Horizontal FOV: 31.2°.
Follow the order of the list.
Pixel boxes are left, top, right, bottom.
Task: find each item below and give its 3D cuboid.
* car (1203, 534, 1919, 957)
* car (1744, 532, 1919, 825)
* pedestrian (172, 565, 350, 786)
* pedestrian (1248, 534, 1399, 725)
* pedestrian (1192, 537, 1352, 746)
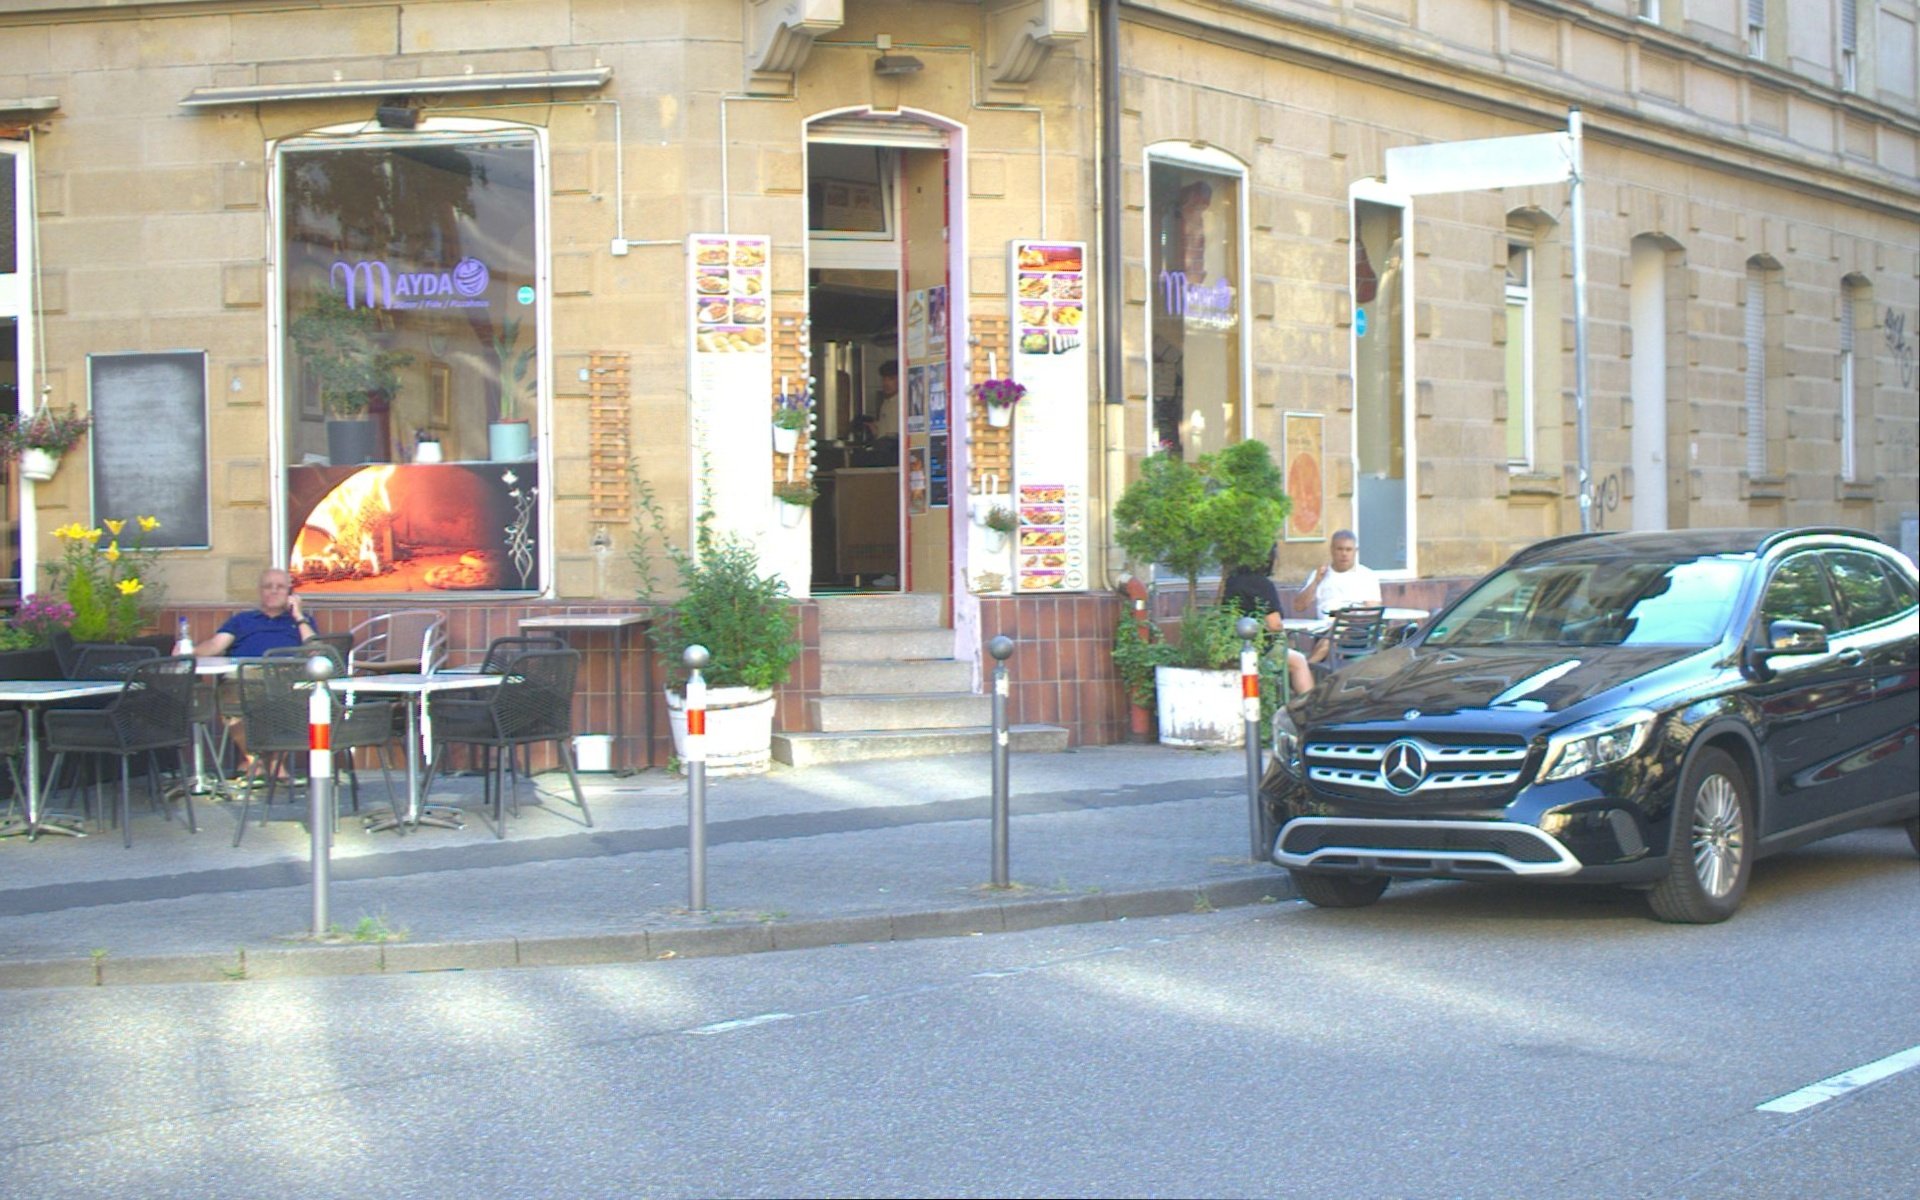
[{"bbox_3d":[2.875,0.496,14.460,1.762,1.482,4.130,-1,1,36],"label":"car"},{"bbox_3d":[6.073,0.334,18.782,1.762,1.447,4.541,-1,1,37],"label":"car"},{"bbox_3d":[-3.944,0.416,19.435,0.726,1.209,0.756,-1,1,13],"label":"pedestrian"},{"bbox_3d":[2.373,0.183,22.395,0.726,1.209,0.755,0,1,30],"label":"pedestrian"},{"bbox_3d":[1.937,0.245,21.312,0.726,1.254,0.755,0,1,30],"label":"pedestrian"}]
